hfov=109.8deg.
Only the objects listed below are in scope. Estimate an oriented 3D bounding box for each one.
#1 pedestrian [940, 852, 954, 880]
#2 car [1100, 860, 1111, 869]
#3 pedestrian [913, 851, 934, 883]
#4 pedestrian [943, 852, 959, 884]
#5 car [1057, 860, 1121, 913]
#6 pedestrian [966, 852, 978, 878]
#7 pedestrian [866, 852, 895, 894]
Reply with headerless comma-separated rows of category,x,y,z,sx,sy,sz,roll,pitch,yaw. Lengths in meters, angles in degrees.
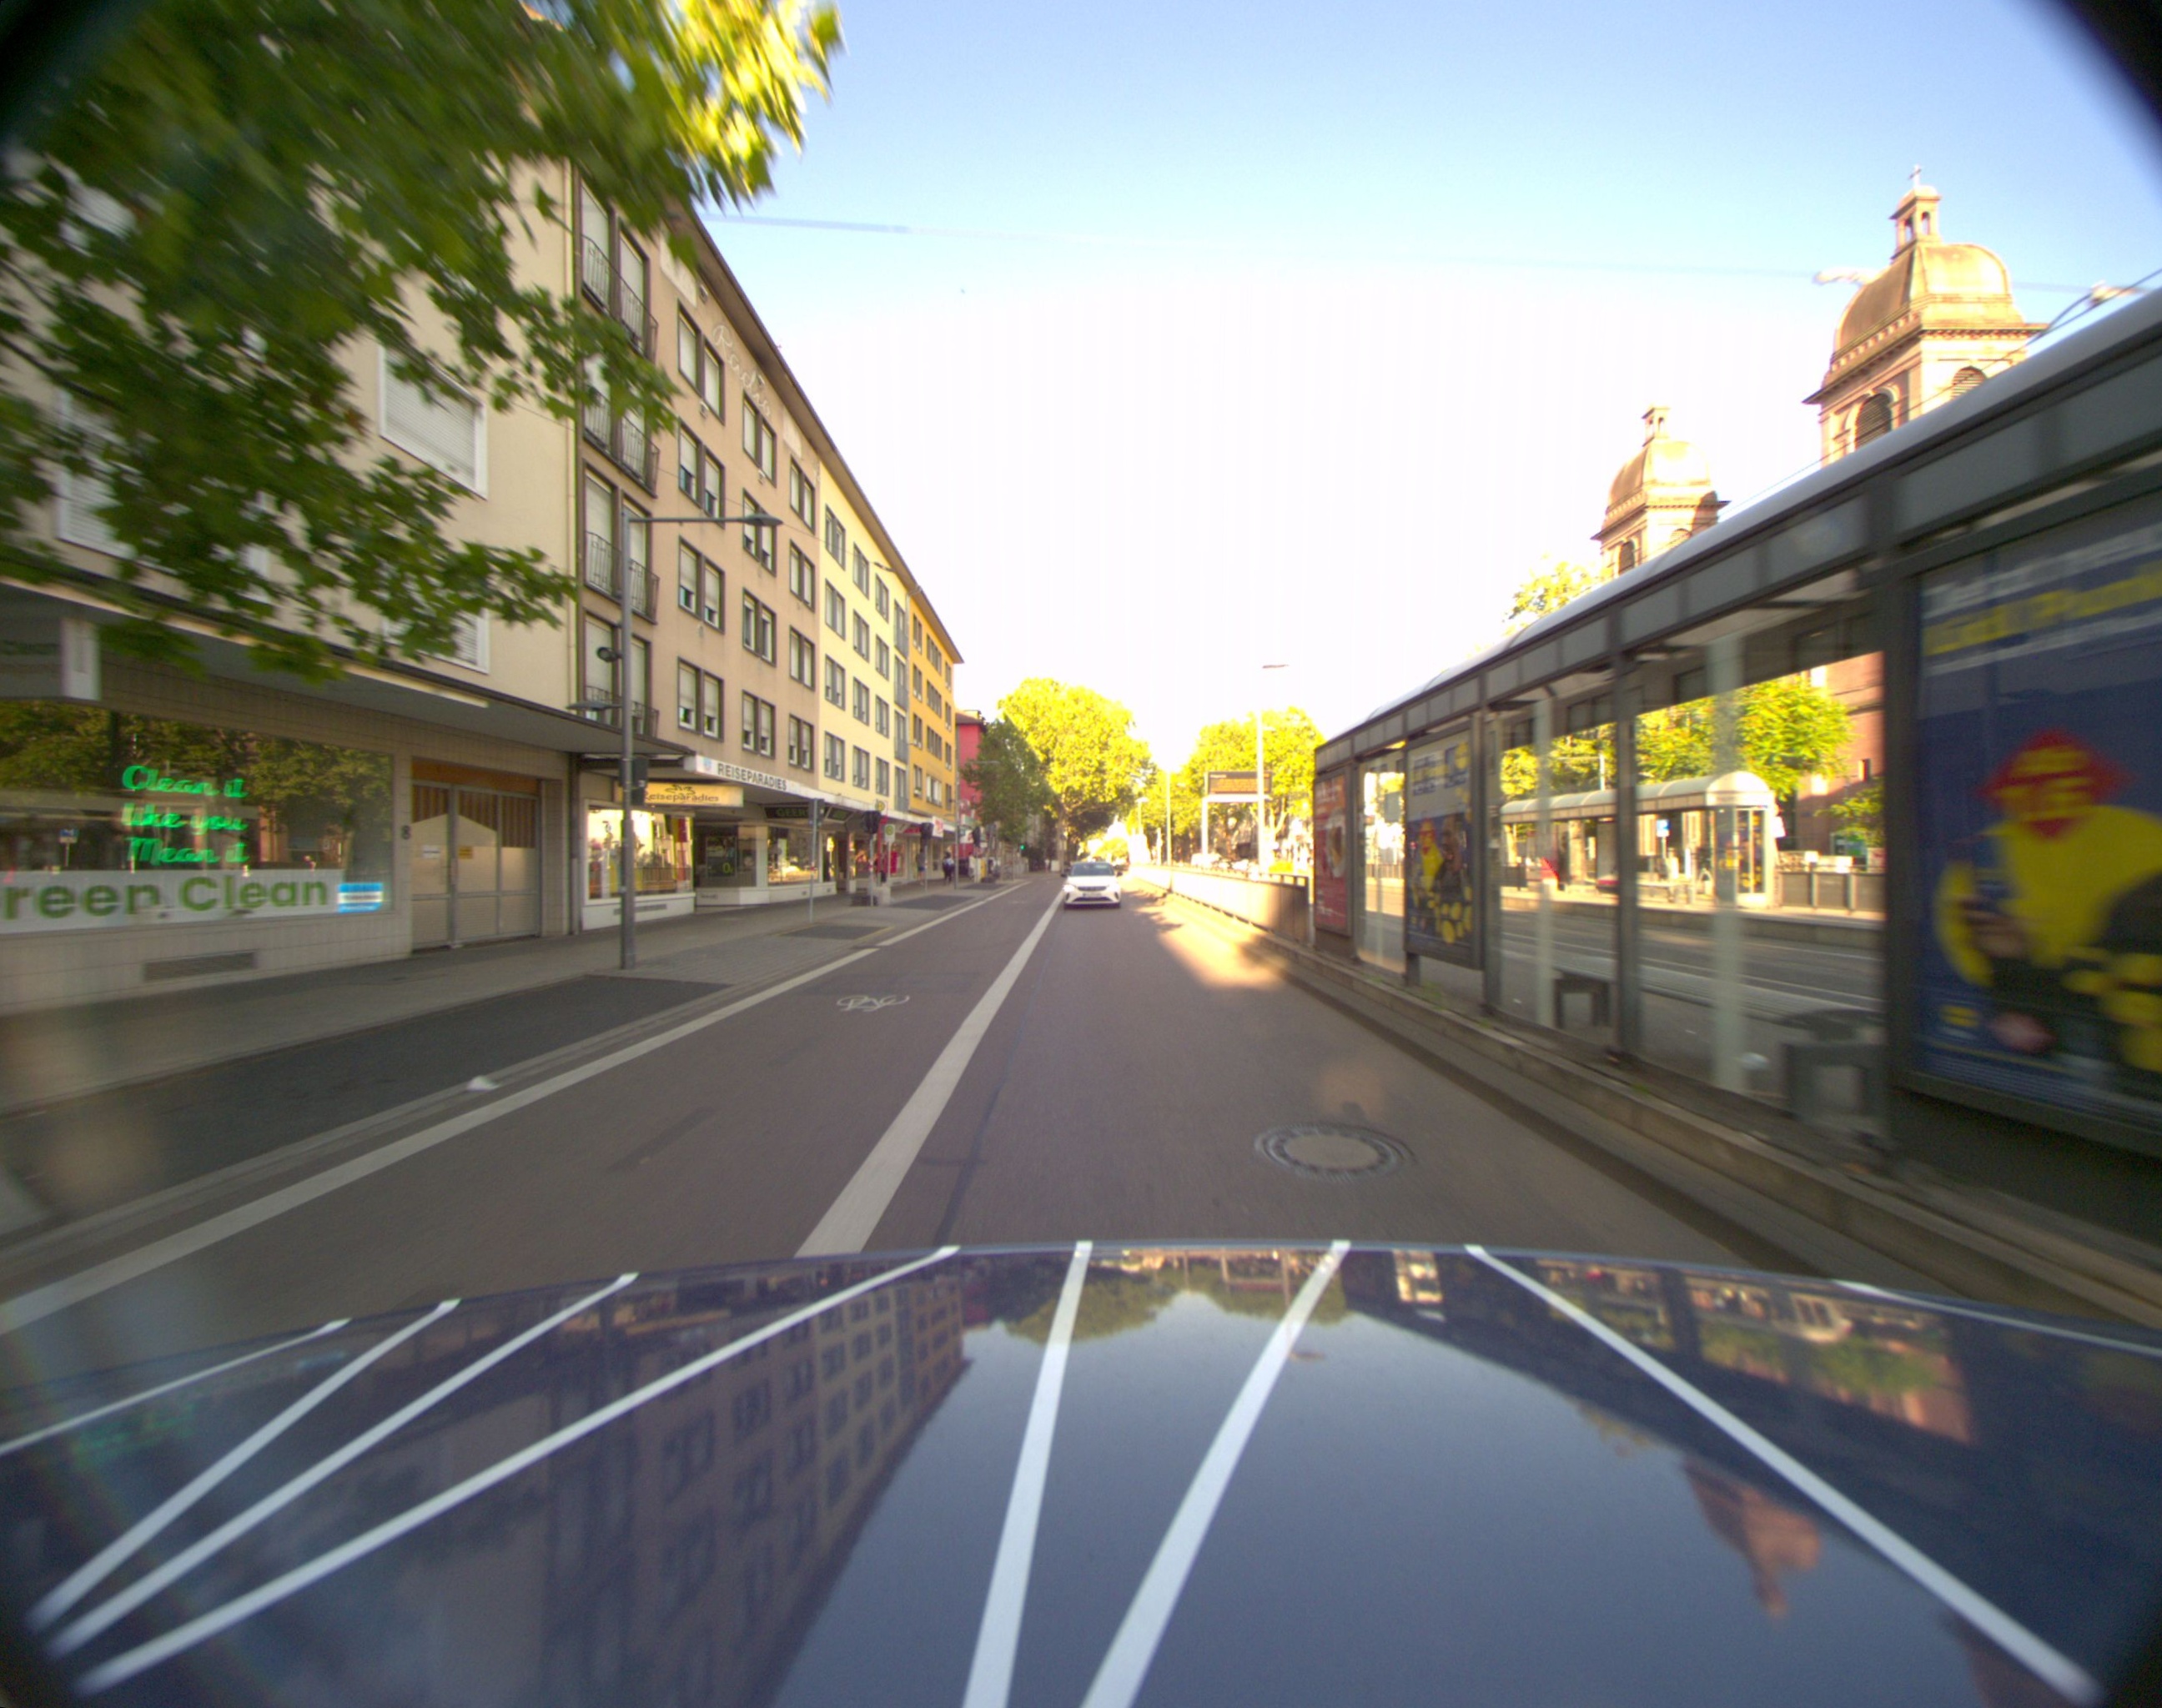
pedestrian,-8.153,0.745,46.206,0.634,1.645,0.651,-2,1,0
car,4.575,1.947,141.711,1.719,1.390,3.998,-2,1,-4
pedestrian,-8.226,0.659,39.653,0.851,1.645,0.915,-2,1,0
pedestrian,-6.855,0.748,40.057,0.693,1.665,0.659,2,1,0
car,0.246,0.952,23.782,1.826,1.433,3.828,-1,0,1
pedestrian,-6.919,0.701,48.251,0.634,1.645,0.651,-2,1,0
pedestrian,-8.170,0.753,30.989,0.851,1.645,0.915,-2,1,0
